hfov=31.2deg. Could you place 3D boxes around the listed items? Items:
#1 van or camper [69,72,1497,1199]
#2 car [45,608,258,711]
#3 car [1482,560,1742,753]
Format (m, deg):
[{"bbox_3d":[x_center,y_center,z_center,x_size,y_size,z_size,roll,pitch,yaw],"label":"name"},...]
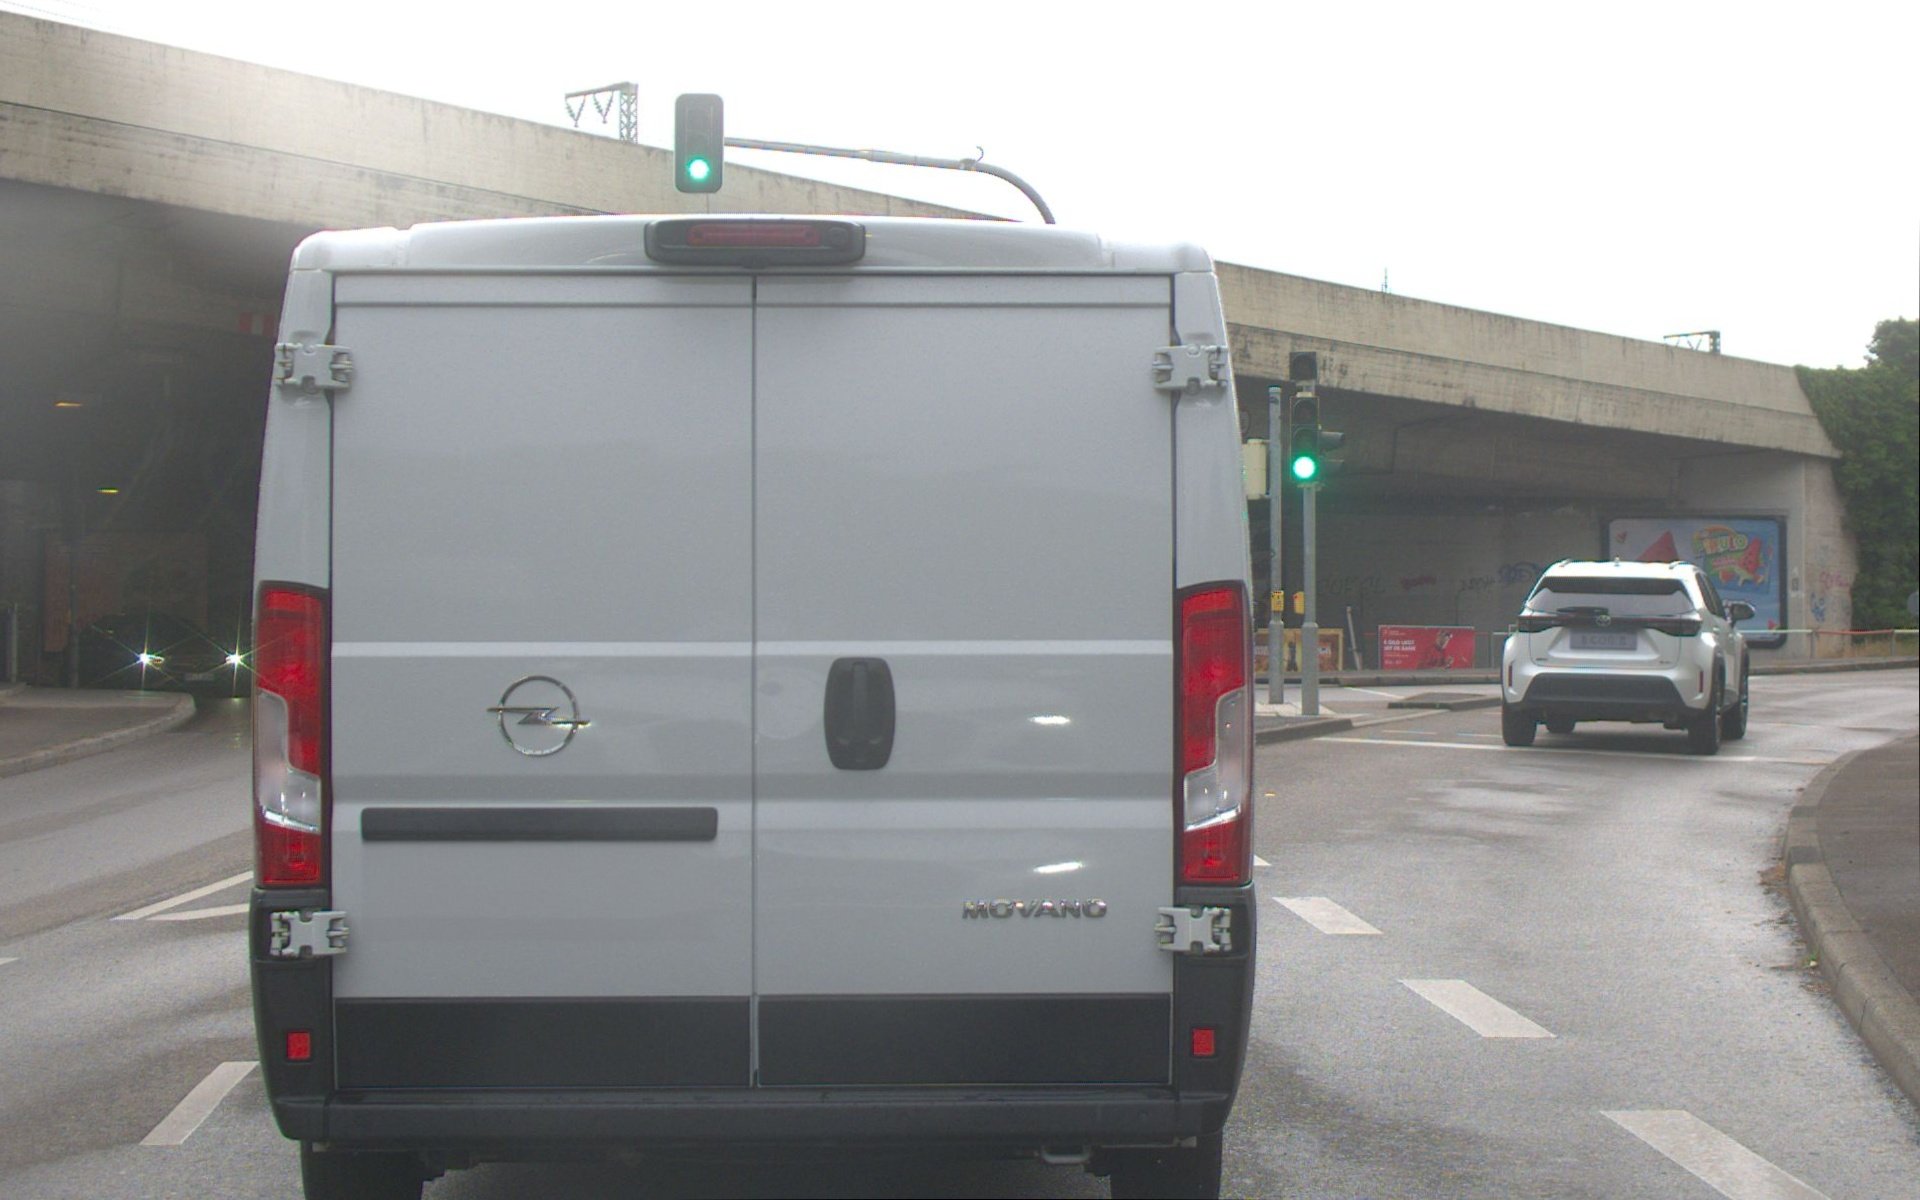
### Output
[{"bbox_3d":[-0.438,0.200,8.976,2.698,2.408,4.904,0,0,-3],"label":"van or camper"},{"bbox_3d":[-13.232,0.934,56.094,1.993,1.525,4.500,0,1,-33],"label":"car"},{"bbox_3d":[5.627,0.432,29.338,1.877,1.525,3.997,0,0,15],"label":"car"}]
